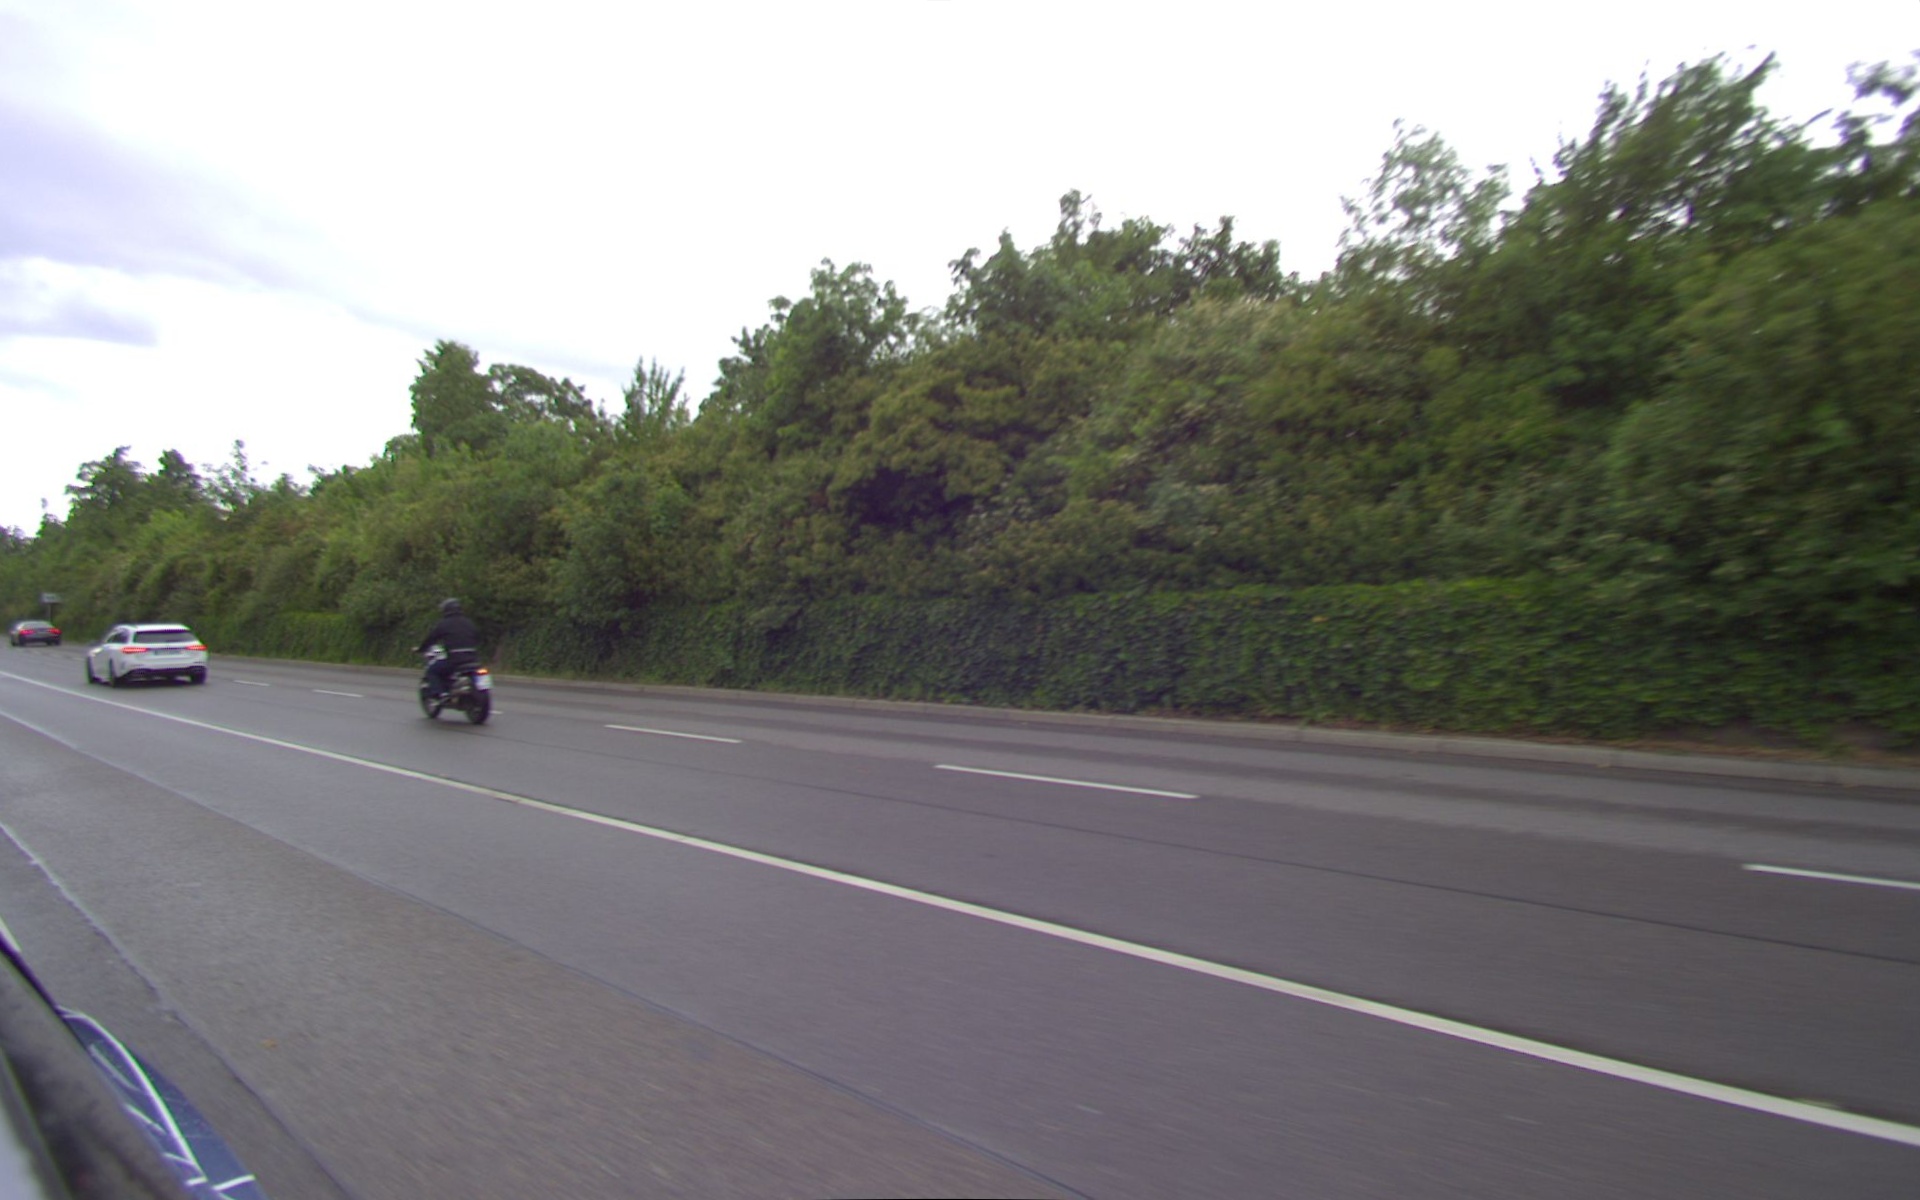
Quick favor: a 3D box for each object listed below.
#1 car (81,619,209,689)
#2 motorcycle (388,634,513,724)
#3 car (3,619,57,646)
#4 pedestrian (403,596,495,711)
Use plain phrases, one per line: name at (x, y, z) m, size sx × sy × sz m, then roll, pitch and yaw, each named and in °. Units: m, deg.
car at (-20.167, 1.274, 24.980) m, size 4.514 × 1.516 × 1.697 m, roll -2°, pitch 0°, yaw 41°
motorcycle at (-7.211, 1.067, 14.278) m, size 2.230 × 1.140 × 0.797 m, roll -1°, pitch -1°, yaw 41°
car at (-53.011, 1.866, 57.649) m, size 4.835 × 1.391 × 1.741 m, roll -2°, pitch 0°, yaw 41°
pedestrian at (-7.207, 0.727, 14.271) m, size 1.111 × 1.553 × 0.797 m, roll -1°, pitch -1°, yaw 41°
